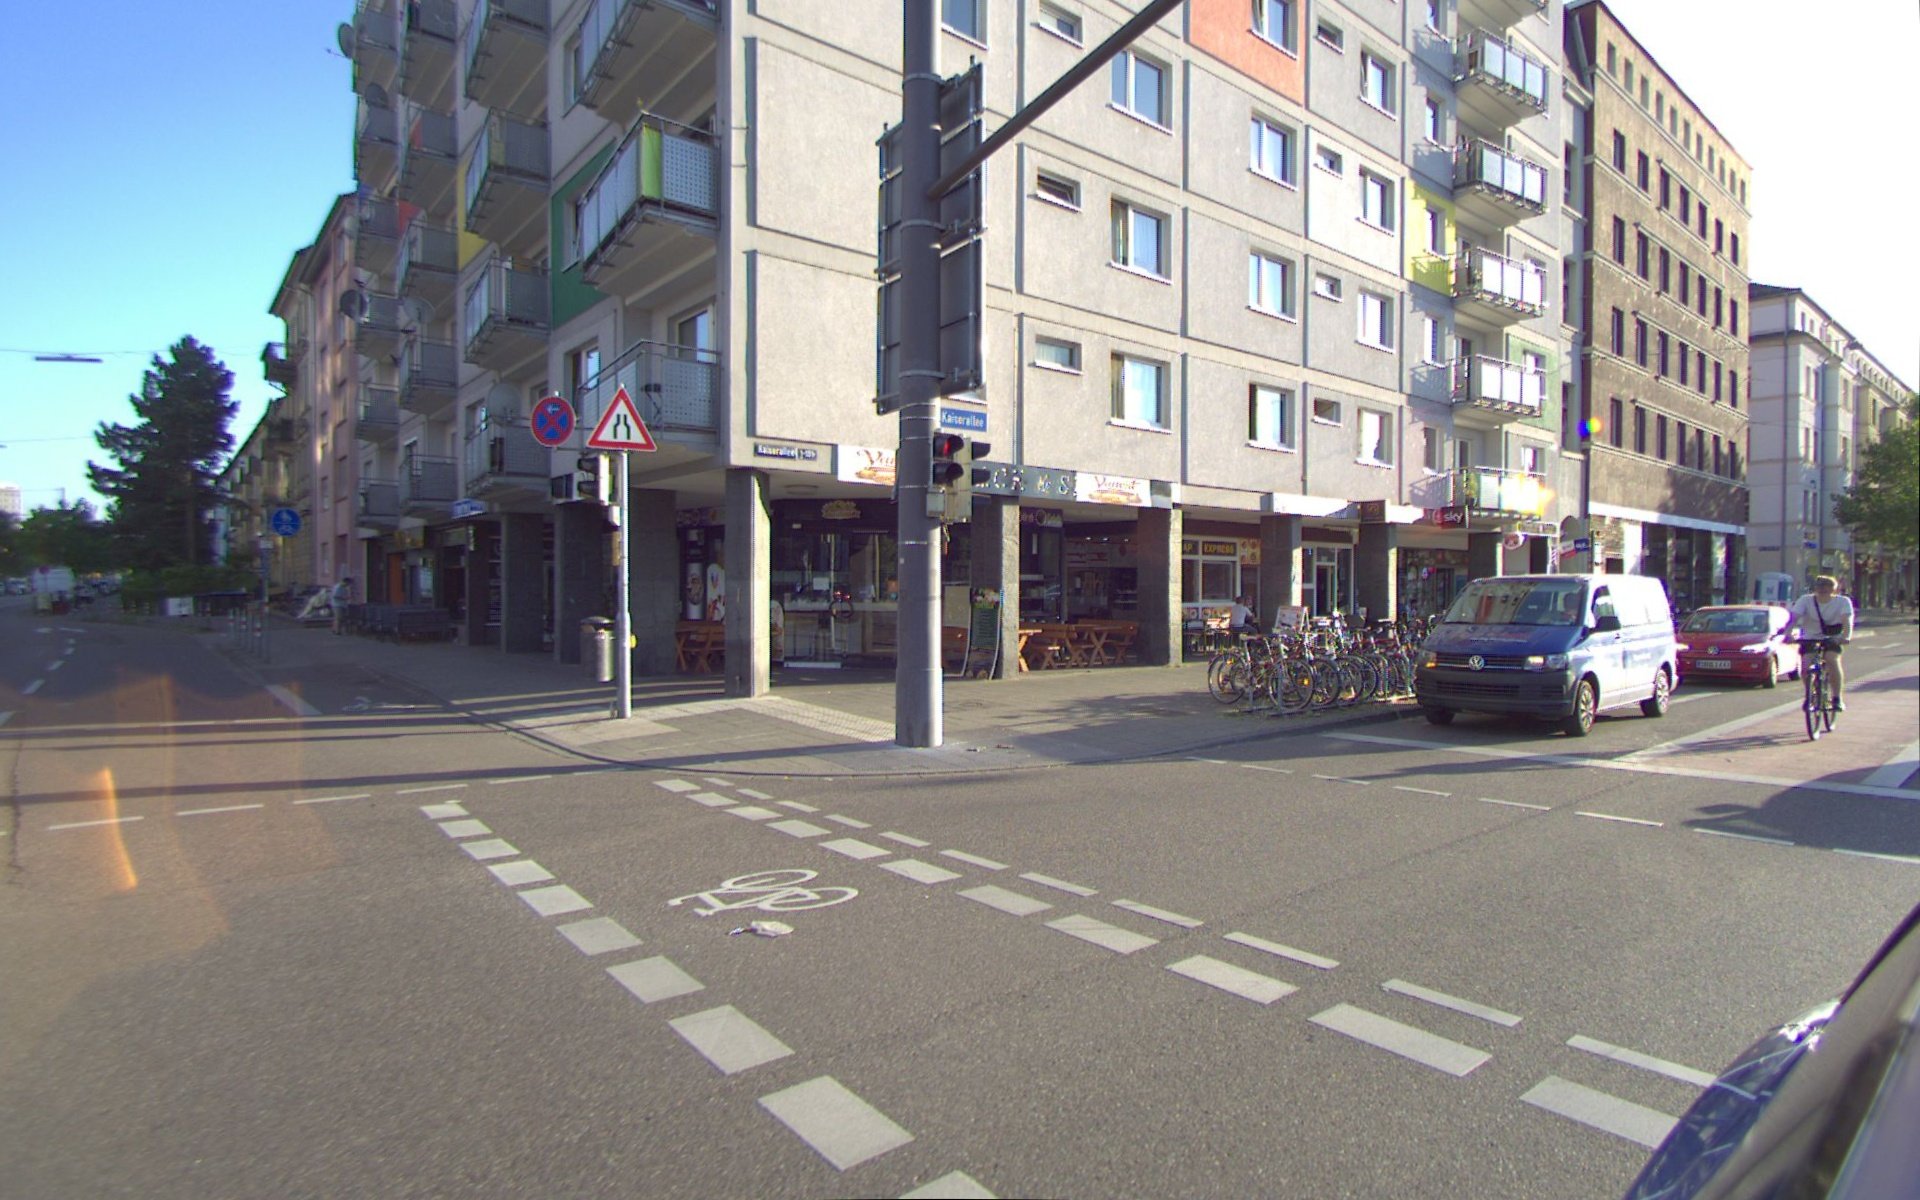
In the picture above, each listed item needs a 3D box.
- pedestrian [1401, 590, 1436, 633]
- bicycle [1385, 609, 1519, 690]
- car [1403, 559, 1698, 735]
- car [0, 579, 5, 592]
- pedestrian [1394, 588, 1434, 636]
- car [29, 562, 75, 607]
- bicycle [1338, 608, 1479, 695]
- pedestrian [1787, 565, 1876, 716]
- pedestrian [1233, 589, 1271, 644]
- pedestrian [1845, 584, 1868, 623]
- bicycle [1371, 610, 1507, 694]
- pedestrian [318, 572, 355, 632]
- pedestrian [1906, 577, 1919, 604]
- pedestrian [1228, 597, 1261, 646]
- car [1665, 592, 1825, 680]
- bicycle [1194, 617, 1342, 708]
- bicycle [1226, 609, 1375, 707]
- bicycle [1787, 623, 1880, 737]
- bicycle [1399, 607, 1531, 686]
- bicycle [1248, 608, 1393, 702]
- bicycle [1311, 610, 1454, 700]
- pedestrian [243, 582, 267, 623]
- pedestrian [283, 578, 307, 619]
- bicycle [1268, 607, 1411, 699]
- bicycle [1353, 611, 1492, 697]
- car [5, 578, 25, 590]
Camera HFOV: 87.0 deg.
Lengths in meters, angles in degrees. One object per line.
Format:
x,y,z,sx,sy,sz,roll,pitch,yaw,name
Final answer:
13.452,0.323,29.668,0.635,1.247,0.727,0,0,-38,pedestrian
8.075,0.784,16.674,0.558,1.139,1.870,0,3,-43,bicycle
7.984,0.478,13.488,4.747,1.957,1.940,-1,1,-40,car
-122.122,-1.812,127.798,1.895,1.593,3.995,-1,1,-40,car
12.716,0.332,28.336,0.936,1.311,0.646,-1,1,-37,pedestrian
-56.584,-0.974,63.147,2.054,2.755,4.540,0,1,-41,car
6.835,0.754,15.509,0.558,1.139,1.870,0,3,-43,bicycle
10.057,0.442,11.675,0.828,1.669,0.639,0,-1,-40,pedestrian
7.004,0.387,24.269,0.634,1.289,0.861,0,0,-2,pedestrian
37.331,0.135,42.131,0.868,1.616,0.602,0,0,-40,pedestrian
7.666,0.803,16.281,0.558,1.139,1.870,0,3,-43,bicycle
-19.082,0.046,30.963,0.721,1.798,0.704,0,1,30,pedestrian
59.873,-0.603,63.424,0.908,1.697,0.727,0,0,-41,pedestrian
6.632,0.480,23.557,0.641,1.113,0.539,0,0,29,pedestrian
15.003,0.636,19.293,3.477,1.499,1.686,-1,-1,-40,car
4.112,0.800,13.633,0.597,1.074,1.870,0,1,-42,bicycle
4.690,0.760,14.034,0.597,1.139,1.870,0,3,-43,bicycle
10.127,0.877,11.715,1.816,1.173,0.529,-1,0,-41,bicycle
8.481,0.756,17.060,0.558,1.139,1.870,0,3,-43,bicycle
5.109,0.746,14.441,0.558,1.139,1.870,0,3,-43,bicycle
6.283,0.784,15.133,0.558,1.139,1.870,0,3,-43,bicycle
-28.189,0.092,40.467,0.699,1.596,0.726,-1,1,-42,pedestrian
-25.712,-0.067,39.153,0.699,1.596,0.727,-1,1,-40,pedestrian
5.528,0.741,14.842,0.558,1.139,1.870,0,3,-43,bicycle
7.238,0.814,15.917,0.558,1.139,1.870,0,3,-43,bicycle
-135.492,-2.309,145.087,1.895,1.767,3.995,-1,1,-40,car
